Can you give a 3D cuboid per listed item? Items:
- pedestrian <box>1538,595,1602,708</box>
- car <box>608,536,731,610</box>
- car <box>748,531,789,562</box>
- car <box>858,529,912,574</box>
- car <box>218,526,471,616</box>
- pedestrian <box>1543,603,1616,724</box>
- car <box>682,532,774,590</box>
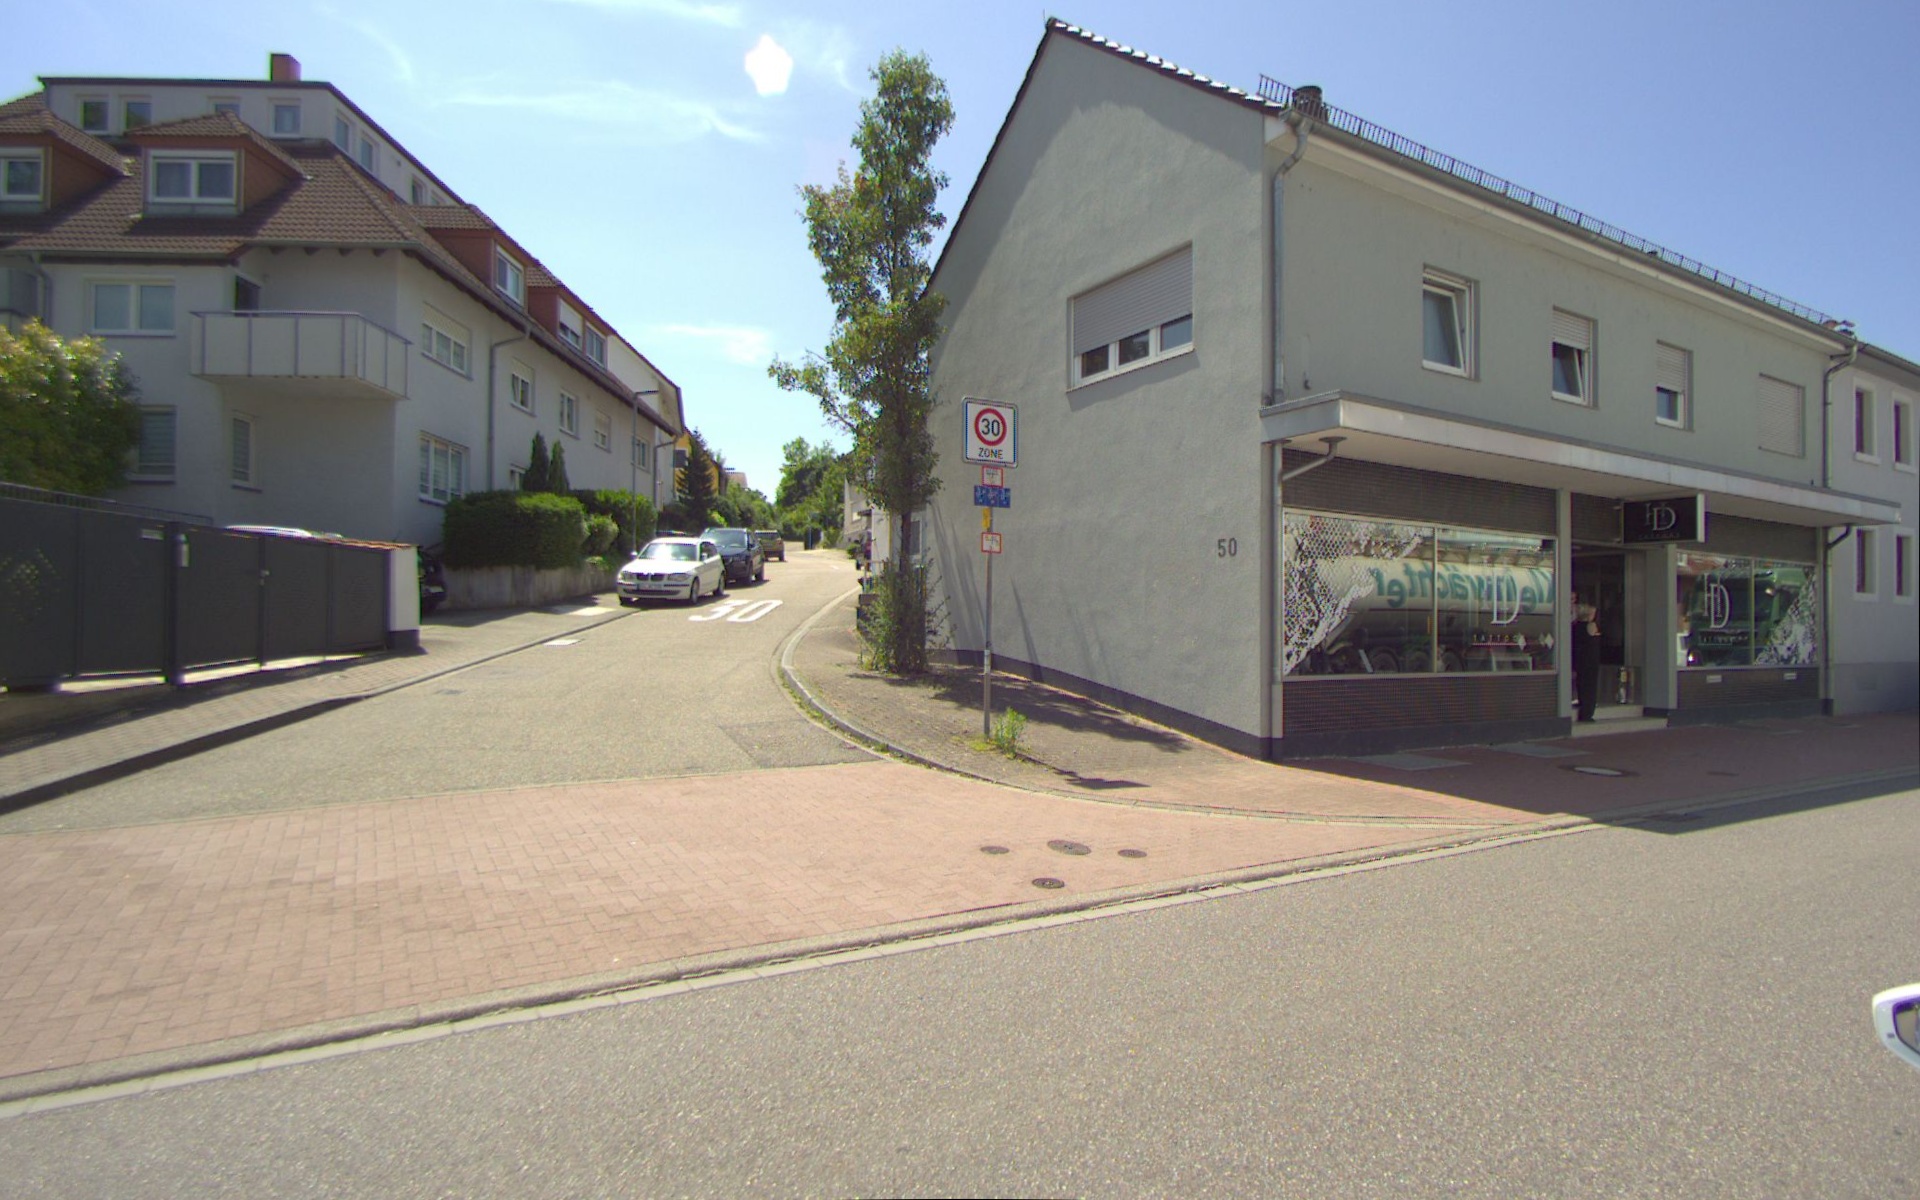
[{"bbox_3d":[9.687,0.804,15.973,0.618,1.736,0.666,2,0,10],"label":"pedestrian"},{"bbox_3d":[-6.738,-0.712,23.693,1.809,1.426,3.920,2,5,-1],"label":"car"},{"bbox_3d":[-9.888,-2.739,51.674,1.815,1.484,3.909,1,3,-15],"label":"car"},{"bbox_3d":[-2.781,-1.810,36.683,1.652,1.519,3.807,1,4,-9],"label":"car"},{"bbox_3d":[-11.571,-0.548,19.032,3.695,1.486,1.788,2,2,3],"label":"car"},{"bbox_3d":[9.041,0.912,14.665,0.762,1.707,0.621,2,-1,-32],"label":"pedestrian"},{"bbox_3d":[-6.667,-1.187,29.284,1.809,1.426,3.920,2,5,-1],"label":"car"}]
